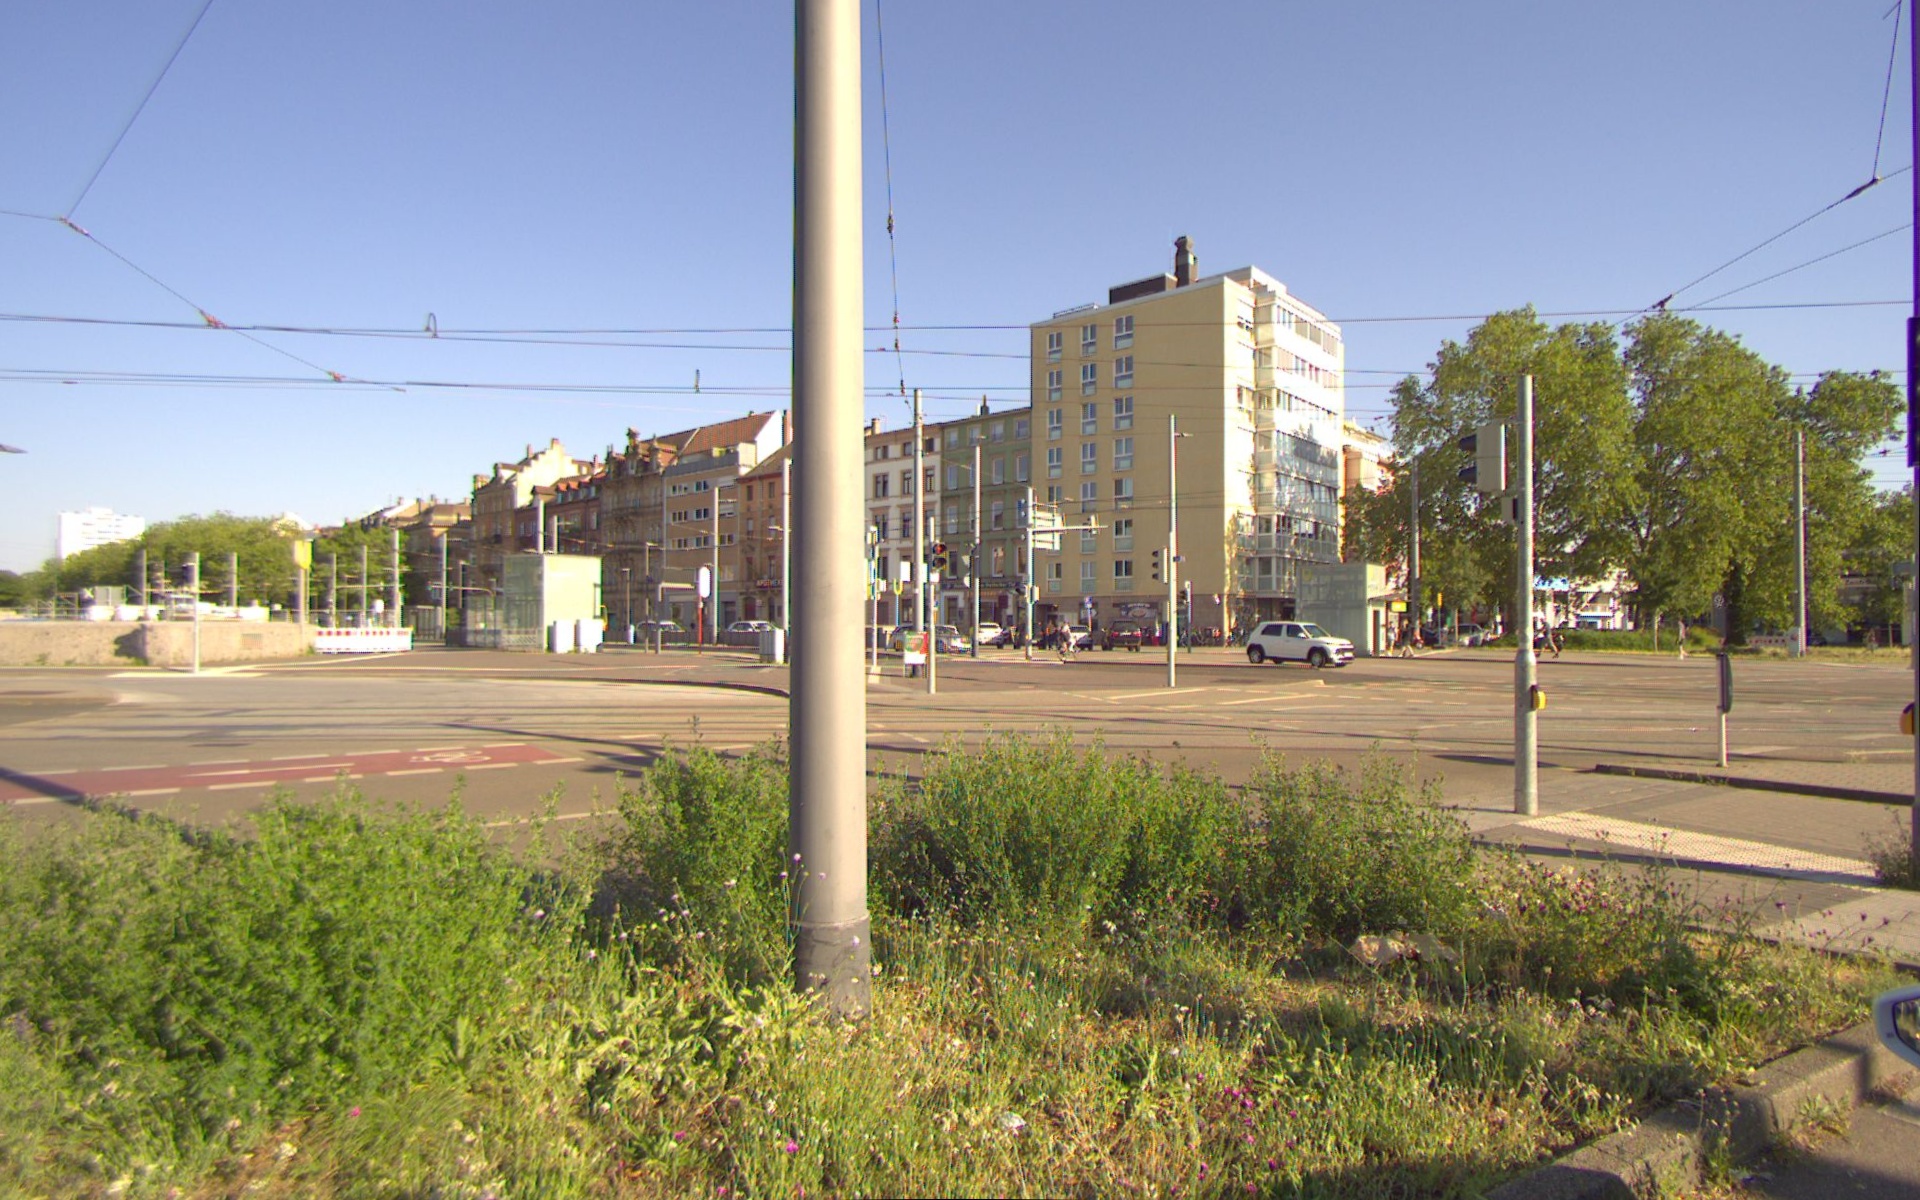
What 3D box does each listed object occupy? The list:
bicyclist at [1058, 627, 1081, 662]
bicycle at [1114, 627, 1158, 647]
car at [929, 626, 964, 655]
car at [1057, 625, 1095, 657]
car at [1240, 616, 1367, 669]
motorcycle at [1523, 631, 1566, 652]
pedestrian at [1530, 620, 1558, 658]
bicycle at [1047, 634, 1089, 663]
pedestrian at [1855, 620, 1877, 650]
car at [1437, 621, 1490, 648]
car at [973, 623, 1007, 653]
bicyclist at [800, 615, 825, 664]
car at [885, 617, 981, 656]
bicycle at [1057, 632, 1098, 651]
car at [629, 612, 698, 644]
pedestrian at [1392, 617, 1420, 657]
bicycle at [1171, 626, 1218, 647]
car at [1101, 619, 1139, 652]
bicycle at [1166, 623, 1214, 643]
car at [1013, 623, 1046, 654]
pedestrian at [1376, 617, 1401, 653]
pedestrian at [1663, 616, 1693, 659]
[{"bbox_3d":[4.450,1.801,40.733,0.617,1.368,0.658,2,0,44],"label":"bicyclist"},{"bbox_3d":[11.562,2.400,66.082,3.003,1.167,0.637,1,0,44],"label":"bicycle"},{"bbox_3d":[-0.846,2.652,66.653,1.960,1.728,4.001,2,0,4],"label":"car"},{"bbox_3d":[6.809,2.375,59.166,1.960,1.728,4.001,2,0,4],"label":"car"},{"bbox_3d":[12.337,1.501,36.240,1.772,1.684,3.953,2,0,-40],"label":"car"},{"bbox_3d":[29.132,2.057,50.108,1.753,0.926,0.676,2,0,41],"label":"motorcycle"},{"bbox_3d":[27.078,1.806,46.572,0.747,1.728,0.793,2,0,-22],"label":"pedestrian"},{"bbox_3d":[4.375,1.949,40.671,0.617,1.104,1.914,2,0,44],"label":"bicycle"},{"bbox_3d":[52.890,2.023,58.637,0.491,1.716,0.852,2,0,-32],"label":"pedestrian"},{"bbox_3d":[31.994,2.203,63.809,3.973,1.588,1.753,2,0,-44],"label":"car"},{"bbox_3d":[1.940,2.398,63.951,1.960,1.728,4.001,2,0,4],"label":"car"},{"bbox_3d":[-5.248,1.386,35.803,0.653,1.706,0.980,2,0,2],"label":"bicyclist"},{"bbox_3d":[-1.375,1.766,49.268,4.647,1.684,1.779,2,0,39],"label":"car"},{"bbox_3d":[8.070,2.851,68.890,3.003,1.167,0.637,1,0,44],"label":"bicycle"},{"bbox_3d":[-19.323,1.814,65.324,4.837,1.849,1.990,2,0,41],"label":"car"},{"bbox_3d":[19.856,1.649,44.712,0.747,1.728,0.793,2,0,-22],"label":"pedestrian"},{"bbox_3d":[14.867,2.293,63.706,3.003,1.167,0.637,1,0,44],"label":"bicycle"},{"bbox_3d":[9.112,2.004,57.426,1.684,1.728,4.001,2,0,4],"label":"car"},{"bbox_3d":[14.463,2.068,63.167,3.003,1.167,0.637,1,0,44],"label":"bicycle"},{"bbox_3d":[4.240,2.313,61.478,1.960,1.728,4.001,2,0,4],"label":"car"},{"bbox_3d":[21.075,1.725,49.452,0.747,1.728,0.793,2,0,-22],"label":"pedestrian"},{"bbox_3d":[32.474,1.680,45.436,0.747,1.911,0.793,2,0,-22],"label":"pedestrian"}]
